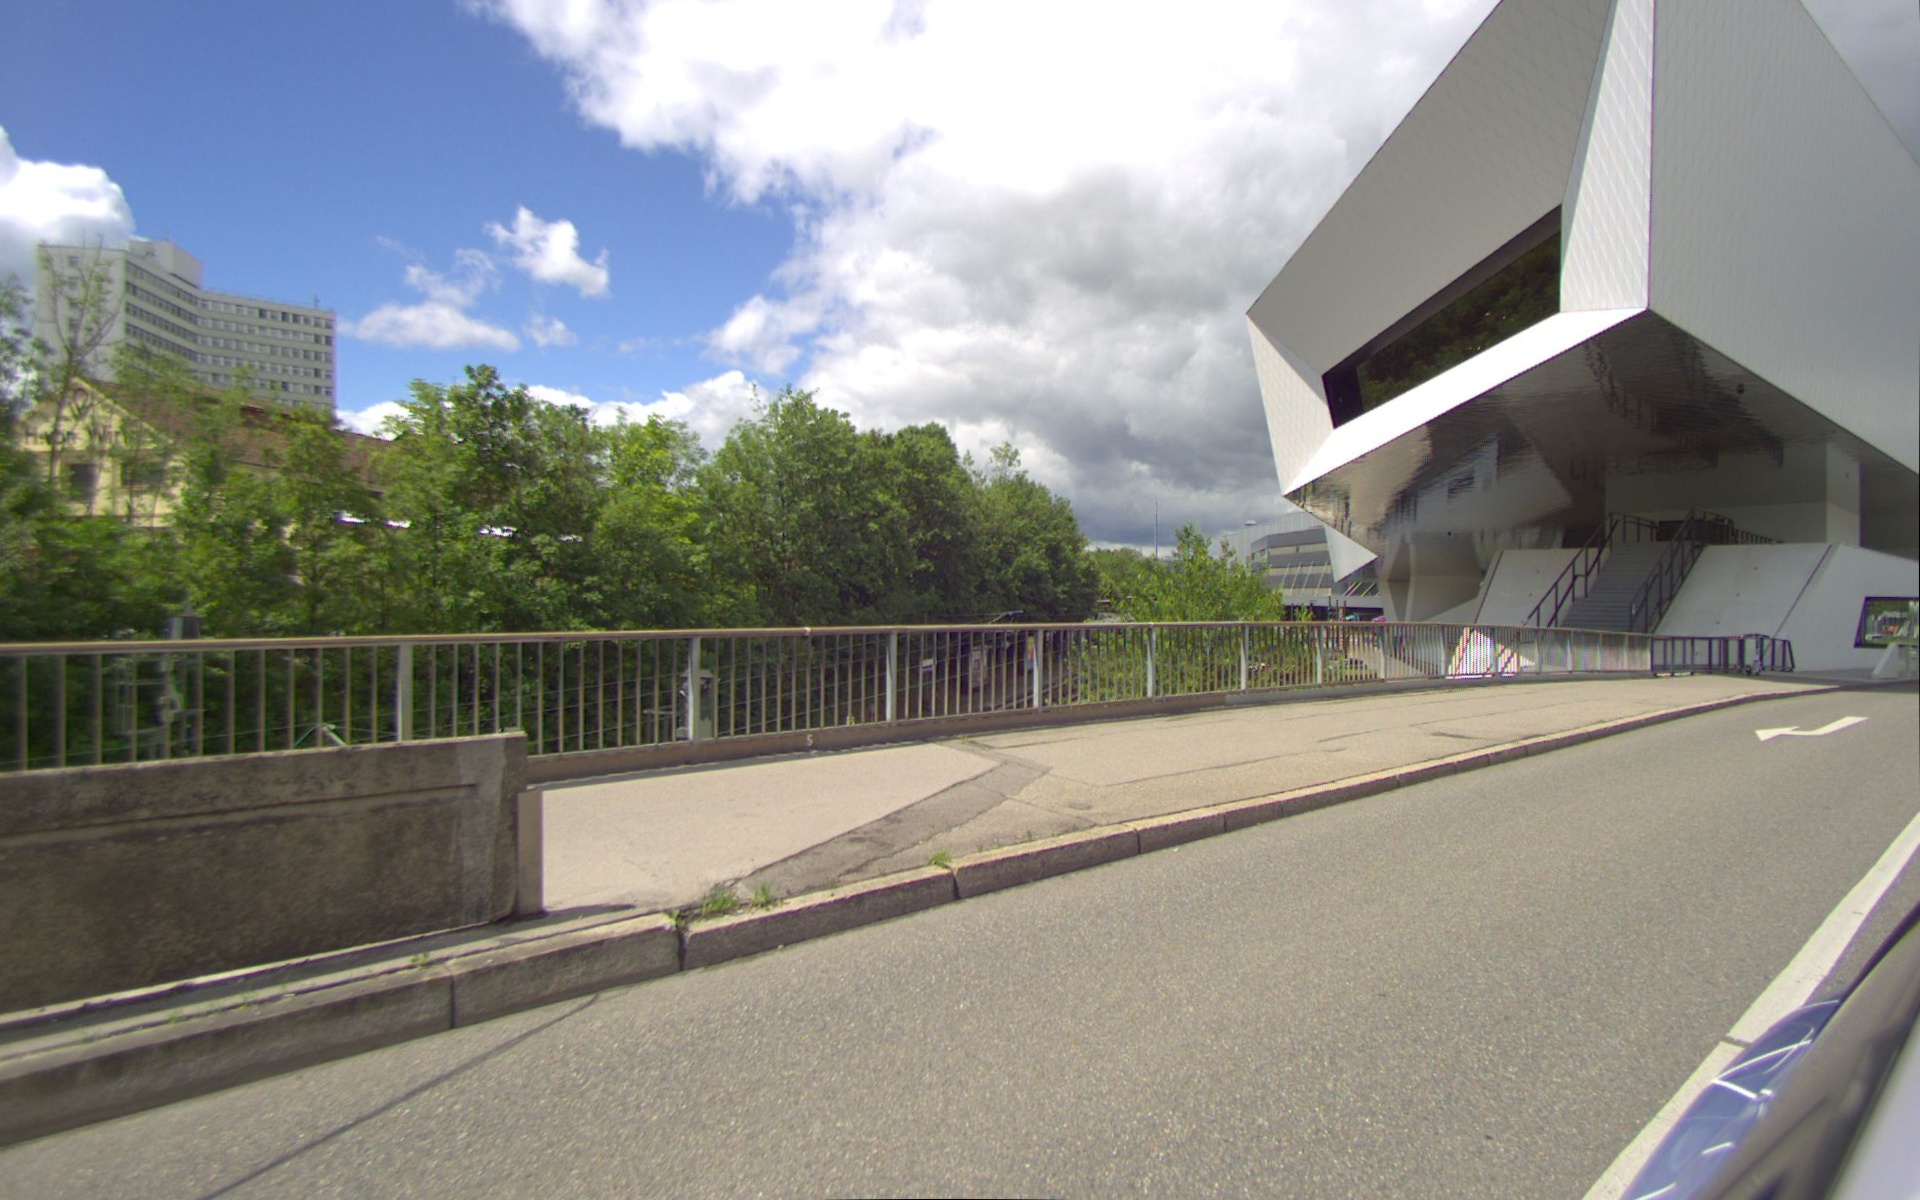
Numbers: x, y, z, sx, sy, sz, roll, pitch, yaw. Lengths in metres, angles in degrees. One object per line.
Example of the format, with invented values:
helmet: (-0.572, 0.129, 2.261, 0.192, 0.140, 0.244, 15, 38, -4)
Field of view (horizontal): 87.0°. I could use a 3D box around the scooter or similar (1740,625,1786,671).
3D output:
scooter or similar: (22.238, 1.316, 28.004, 1.825, 1.229, 0.654, 2, -1, -41)
